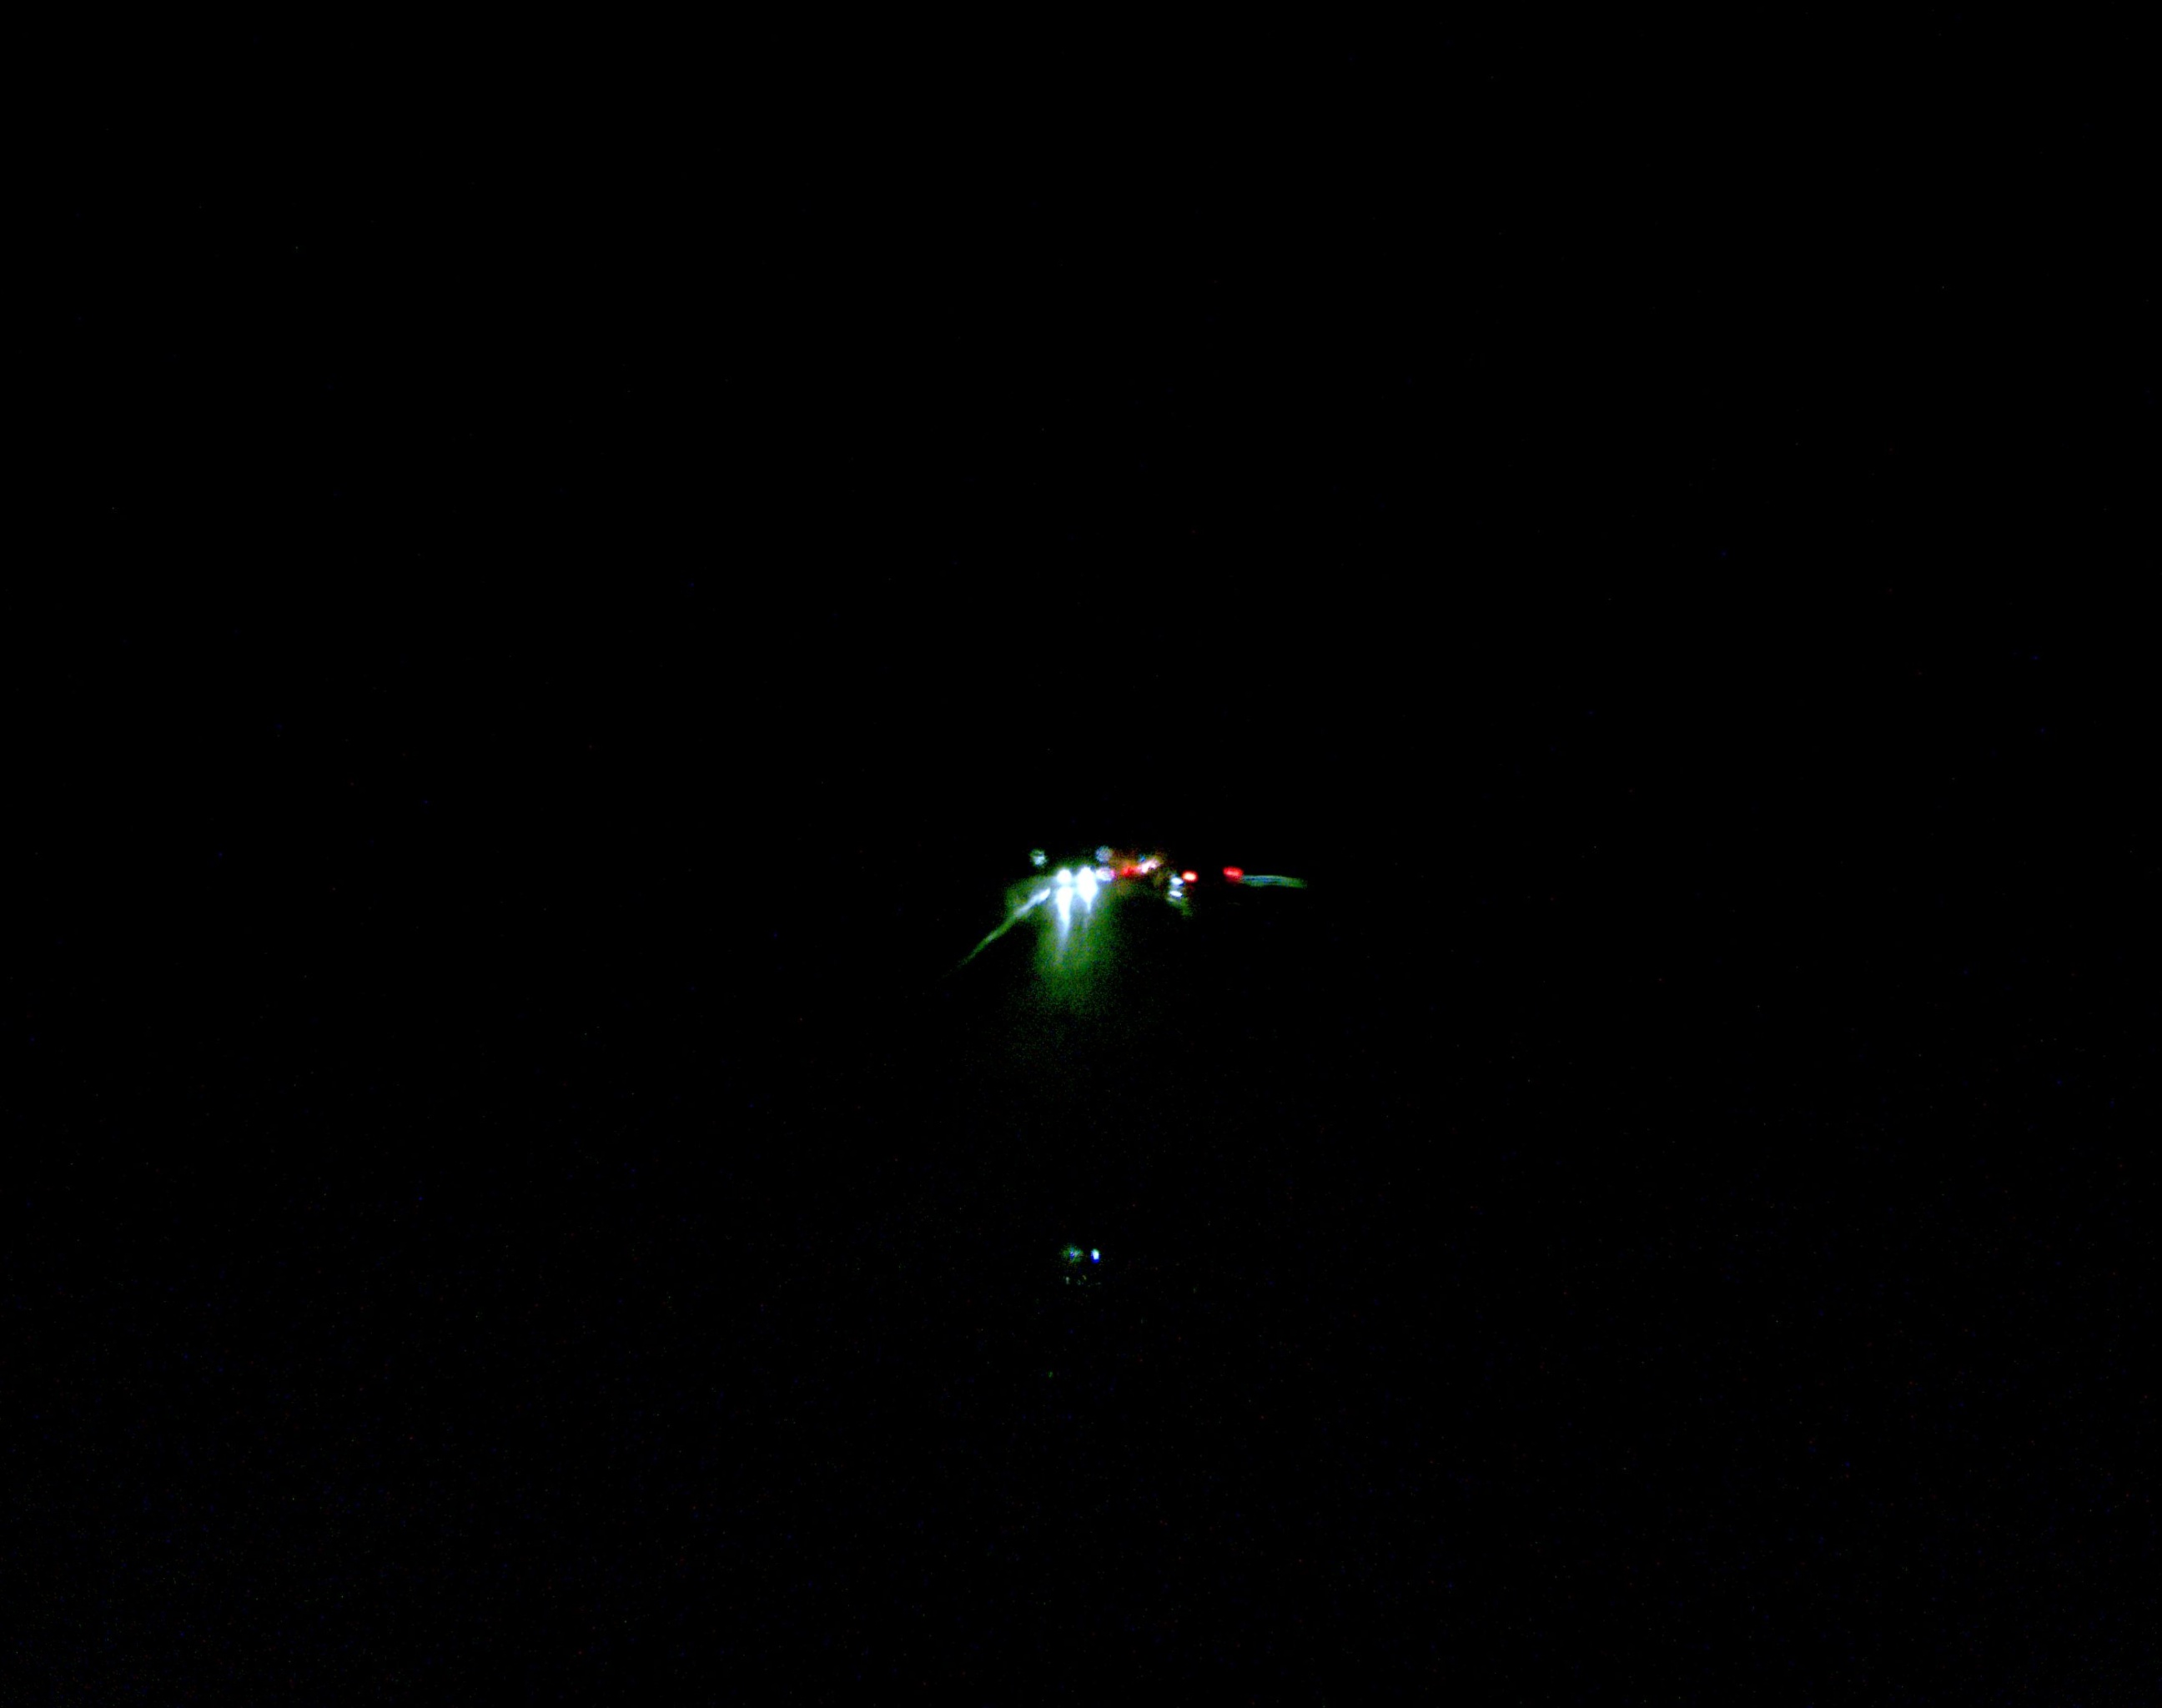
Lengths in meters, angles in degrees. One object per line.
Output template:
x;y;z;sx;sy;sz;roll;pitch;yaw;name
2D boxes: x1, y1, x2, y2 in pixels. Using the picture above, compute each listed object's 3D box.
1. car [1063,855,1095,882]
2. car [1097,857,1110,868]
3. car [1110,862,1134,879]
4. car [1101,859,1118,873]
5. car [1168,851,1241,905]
-0.100;1.038;54.810;1.998;1.804;4.002;1;-1;3;car
3.306;1.248;111.847;1.813;1.591;4.631;-2;0;0;car
3.536;1.411;65.774;1.649;1.417;4.123;-2;0;-2;car
3.068;1.303;82.873;1.649;1.417;3.659;-2;-1;-1;car
3.892;0.729;24.579;1.720;1.508;3.878;-3;0;1;car
